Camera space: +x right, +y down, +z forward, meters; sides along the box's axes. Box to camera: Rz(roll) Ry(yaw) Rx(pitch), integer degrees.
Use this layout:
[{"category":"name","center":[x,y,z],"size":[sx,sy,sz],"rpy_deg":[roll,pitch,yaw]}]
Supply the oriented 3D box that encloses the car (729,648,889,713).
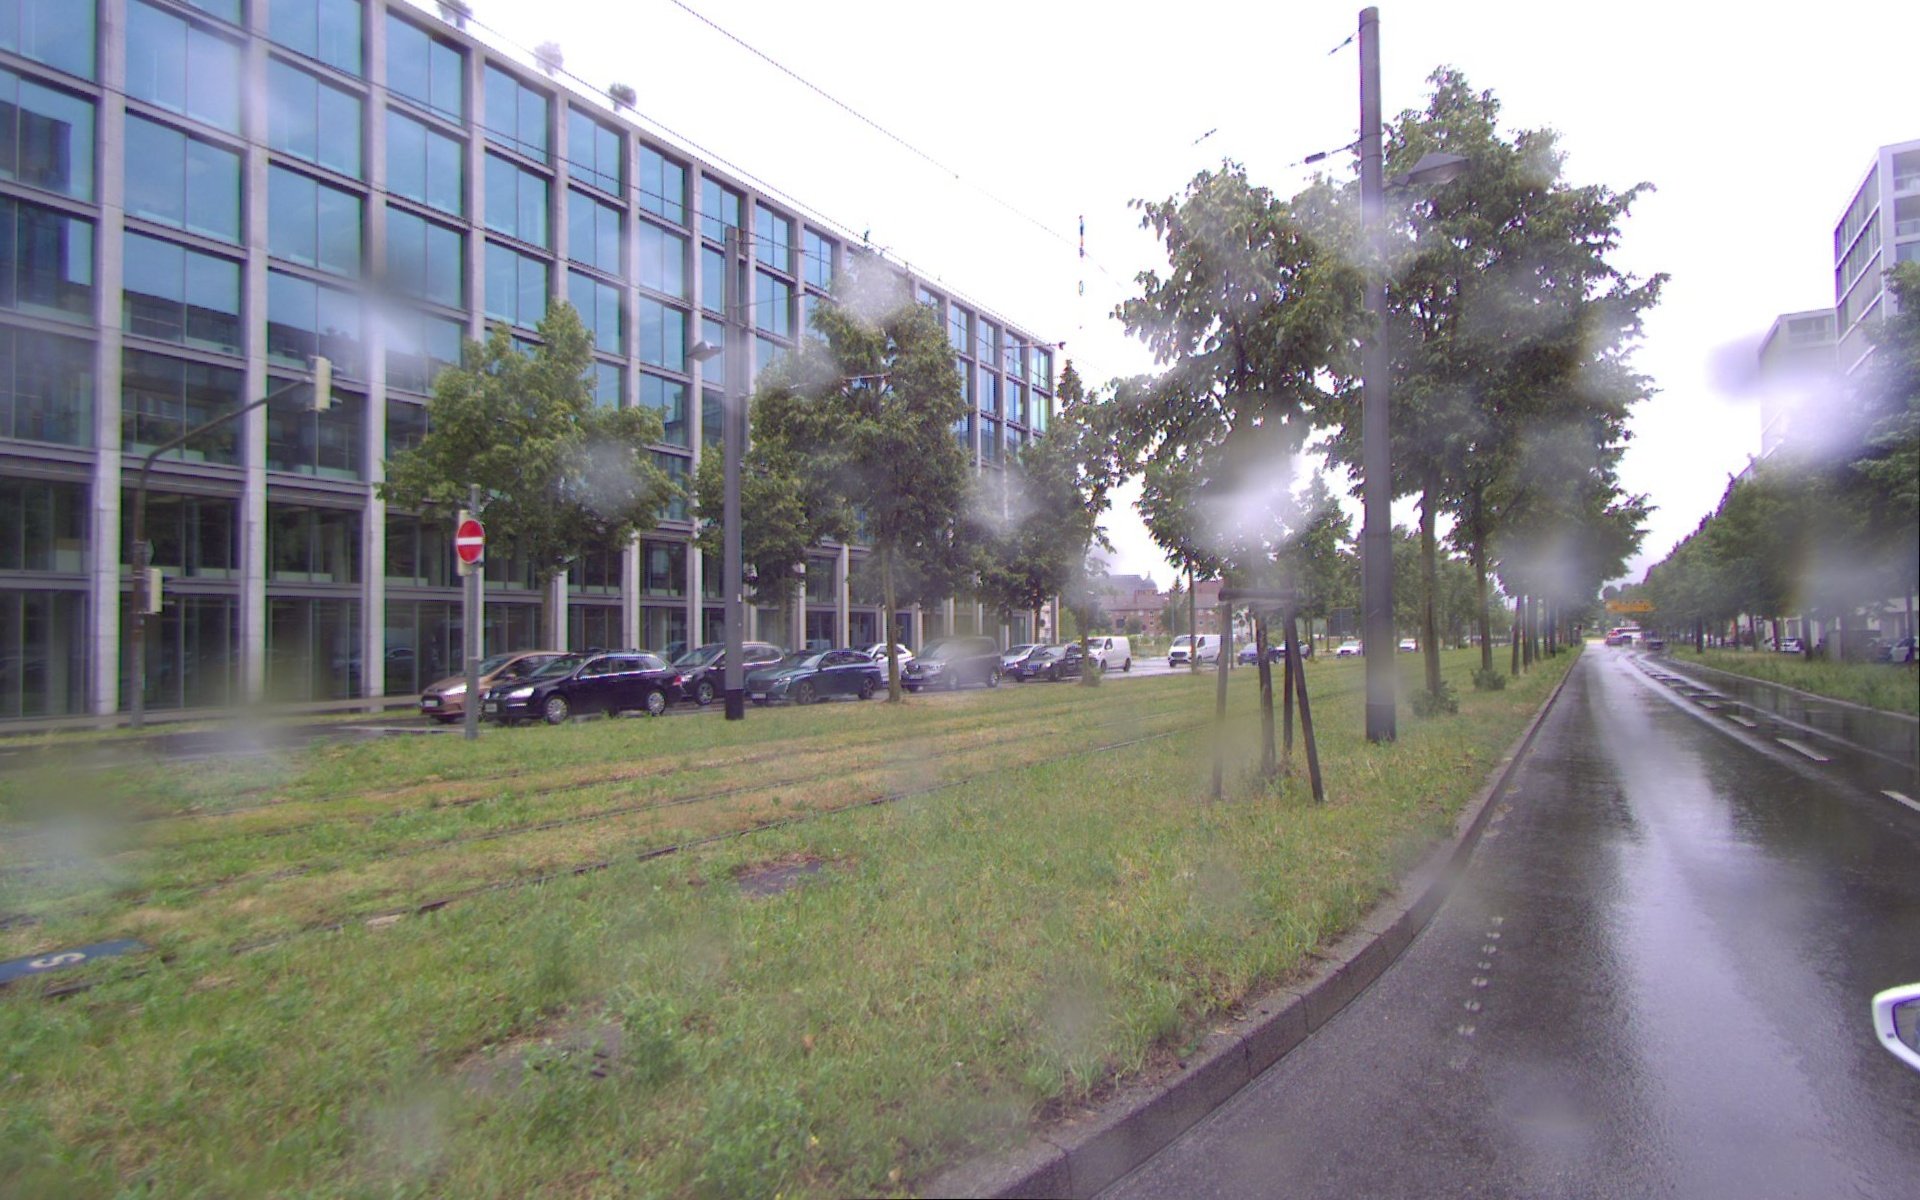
[{"category":"car","center":[-4.021,2.148,27.488],"size":[1.923,1.404,4.463],"rpy_deg":[-2,-1,31]}]

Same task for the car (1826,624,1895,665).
[{"category":"car","center":[49.080,2.372,54.840],"size":[1.966,1.978,5.015],"rpy_deg":[-2,0,32]}]

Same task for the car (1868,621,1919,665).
[{"category":"car","center":[41.627,1.846,43.971],"size":[1.966,1.691,4.711],"rpy_deg":[-2,0,33]}]

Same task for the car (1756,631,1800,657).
[{"category":"car","center":[61.575,3.285,75.688],"size":[1.966,1.691,4.711],"rpy_deg":[-2,0,33]}]

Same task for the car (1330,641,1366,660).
[{"category":"car","center":[32.191,4.148,83.328],"size":[1.923,1.533,4.565],"rpy_deg":[-1,-2,32]}]

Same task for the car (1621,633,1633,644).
[{"category":"car","center":[136.961,7.875,206.131],"size":[1.967,2.040,3.987],"rpy_deg":[-2,0,35]}]

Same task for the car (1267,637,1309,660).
[{"category":"car","center":[26.044,3.823,79.655],"size":[1.925,1.772,4.561],"rpy_deg":[-1,-2,35]}]

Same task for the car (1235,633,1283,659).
[{"category":"car","center":[19.320,2.960,64.884],"size":[1.924,1.514,3.951],"rpy_deg":[-2,0,33]}]

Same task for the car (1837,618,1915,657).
[{"category":"car","center":[44.900,1.831,49.342],"size":[1.966,1.691,4.945],"rpy_deg":[-2,0,33]}]

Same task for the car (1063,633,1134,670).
[{"category":"car","center":[7.366,2.686,52.954],"size":[1.923,1.674,5.019],"rpy_deg":[-2,0,30]}]

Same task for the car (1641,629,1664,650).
[{"category":"car","center":[75.521,4.280,109.586],"size":[1.914,2.040,3.989],"rpy_deg":[-2,0,33]}]

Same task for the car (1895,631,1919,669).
[{"category":"car","center":[38.401,1.950,39.206],"size":[1.744,1.471,4.715],"rpy_deg":[0,-1,30]}]

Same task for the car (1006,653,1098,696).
[{"category":"car","center":[3.825,3.008,41.073],"size":[1.923,1.404,4.593],"rpy_deg":[-2,0,32]}]

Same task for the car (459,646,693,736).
[{"category":"car","center":[-8.128,1.859,21.680],"size":[1.923,1.579,4.453],"rpy_deg":[-2,-1,32]}]

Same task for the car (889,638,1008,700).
[{"category":"car","center":[-0.302,2.289,34.433],"size":[1.923,1.873,4.532],"rpy_deg":[-2,-2,32]}]

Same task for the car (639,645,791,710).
[{"category":"car","center":[-7.097,2.216,29.523],"size":[1.923,1.560,4.263],"rpy_deg":[-2,0,30]}]

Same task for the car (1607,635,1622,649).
[{"category":"car","center":[105.366,6.714,161.673],"size":[1.967,2.040,3.987],"rpy_deg":[-2,0,35]}]

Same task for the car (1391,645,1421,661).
[{"category":"car","center":[47.090,5.588,106.110],"size":[1.926,1.480,4.813],"rpy_deg":[-2,0,36]}]

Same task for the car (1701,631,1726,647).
[{"category":"car","center":[86.107,4.454,114.840],"size":[1.855,1.526,4.711],"rpy_deg":[-2,0,33]}]

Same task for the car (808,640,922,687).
[{"category":"car","center":[-3.306,2.222,35.803],"size":[1.923,1.404,4.263],"rpy_deg":[-2,0,30]}]

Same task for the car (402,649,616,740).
[{"category":"car","center":[-10.518,2.133,23.740],"size":[1.923,1.717,4.263],"rpy_deg":[-2,0,31]}]

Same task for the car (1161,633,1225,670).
[{"category":"car","center":[14.954,3.263,64.260],"size":[2.237,2.033,5.357],"rpy_deg":[-2,0,33]}]
